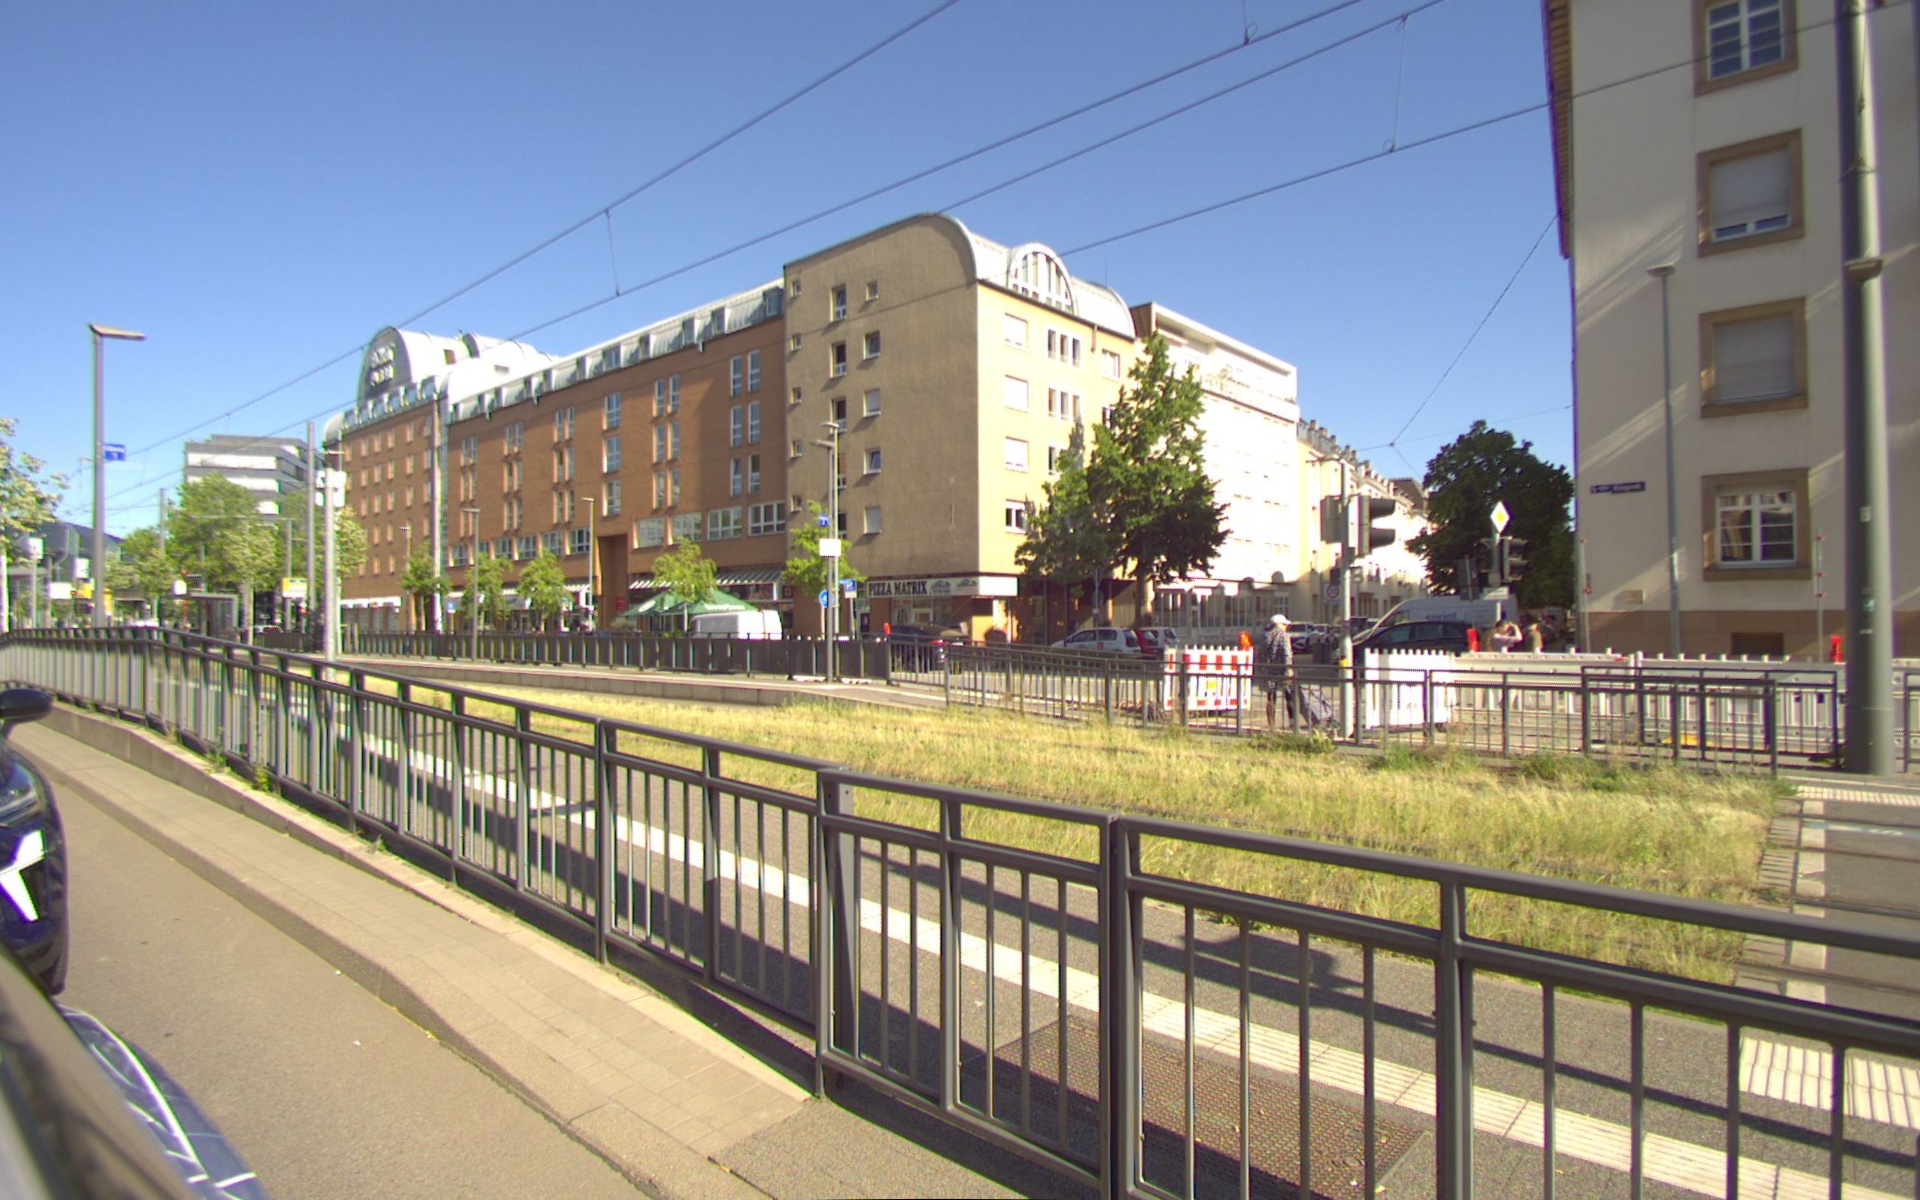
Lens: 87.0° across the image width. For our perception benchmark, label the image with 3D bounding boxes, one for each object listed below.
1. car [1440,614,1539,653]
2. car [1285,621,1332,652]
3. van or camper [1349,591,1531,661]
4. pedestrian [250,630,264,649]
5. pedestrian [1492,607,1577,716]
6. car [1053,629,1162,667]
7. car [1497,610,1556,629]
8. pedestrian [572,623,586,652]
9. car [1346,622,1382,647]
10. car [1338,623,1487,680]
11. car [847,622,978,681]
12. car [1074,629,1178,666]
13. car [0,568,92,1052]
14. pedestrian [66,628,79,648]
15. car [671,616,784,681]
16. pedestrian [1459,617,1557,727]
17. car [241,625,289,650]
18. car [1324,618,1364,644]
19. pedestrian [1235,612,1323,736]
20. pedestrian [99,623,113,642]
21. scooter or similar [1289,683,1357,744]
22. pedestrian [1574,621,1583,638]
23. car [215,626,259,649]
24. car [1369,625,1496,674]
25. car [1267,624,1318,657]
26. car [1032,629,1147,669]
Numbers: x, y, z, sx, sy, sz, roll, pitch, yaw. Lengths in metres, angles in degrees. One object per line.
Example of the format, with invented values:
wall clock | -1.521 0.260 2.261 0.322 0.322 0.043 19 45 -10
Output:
car | 25.207 1.571 48.214 3.990 1.789 1.722 -1 -2 35
car | 19.906 2.051 57.697 1.947 1.674 3.962 -1 -2 28
van or camper | 17.736 0.979 37.537 5.933 2.419 1.979 -1 -2 30
pedestrian | -64.294 3.592 92.585 0.708 1.769 0.777 -1 -2 9
pedestrian | 9.837 1.031 17.348 0.853 1.794 0.912 -1 -1 -25
car | 5.910 1.890 40.563 3.980 1.462 1.768 -1 -2 28
car | 44.328 1.531 79.326 3.853 1.472 1.740 -1 -2 24
pedestrian | -24.845 2.438 66.013 0.644 1.854 0.614 -2 -2 41
car | 28.103 2.367 70.335 1.947 1.674 3.962 -1 -2 28
car | 12.874 1.433 28.851 3.662 1.533 1.673 -1 -2 32
car | -1.534 1.586 32.028 3.997 1.773 1.796 -2 -2 40
car | 6.975 1.981 42.613 3.980 1.462 1.768 -1 -2 28
car | -5.143 0.728 4.204 3.998 1.618 1.779 -1 0 41
pedestrian | -71.181 3.063 81.157 0.599 1.581 0.730 0 -2 -29
car | -9.327 1.856 40.221 1.969 2.388 5.653 0 -2 -41
pedestrian | 8.120 1.038 15.013 0.853 1.548 0.912 -1 -1 -24
car | -51.041 2.726 74.322 3.998 1.696 1.973 -1 0 41
car | 25.058 1.999 65.932 1.947 1.674 3.962 -1 -2 28
pedestrian | 4.142 0.932 13.188 0.785 1.548 0.816 -1 -1 -7
pedestrian | -70.784 2.689 83.883 0.599 1.581 0.911 -2 0 -22
scooter or similar | 4.455 1.383 12.444 0.508 0.656 0.710 -1 -1 -7
pedestrian | 62.106 2.975 101.645 0.687 1.768 0.807 -2 -2 34
car | -57.737 2.941 80.813 3.998 1.696 1.973 -1 0 41
car | 15.644 1.622 33.542 3.654 1.533 1.673 -1 -2 32
car | 17.686 2.104 53.693 1.947 1.674 3.962 -1 -2 28
car | 4.932 1.853 38.612 3.980 1.462 1.768 -1 -2 28
